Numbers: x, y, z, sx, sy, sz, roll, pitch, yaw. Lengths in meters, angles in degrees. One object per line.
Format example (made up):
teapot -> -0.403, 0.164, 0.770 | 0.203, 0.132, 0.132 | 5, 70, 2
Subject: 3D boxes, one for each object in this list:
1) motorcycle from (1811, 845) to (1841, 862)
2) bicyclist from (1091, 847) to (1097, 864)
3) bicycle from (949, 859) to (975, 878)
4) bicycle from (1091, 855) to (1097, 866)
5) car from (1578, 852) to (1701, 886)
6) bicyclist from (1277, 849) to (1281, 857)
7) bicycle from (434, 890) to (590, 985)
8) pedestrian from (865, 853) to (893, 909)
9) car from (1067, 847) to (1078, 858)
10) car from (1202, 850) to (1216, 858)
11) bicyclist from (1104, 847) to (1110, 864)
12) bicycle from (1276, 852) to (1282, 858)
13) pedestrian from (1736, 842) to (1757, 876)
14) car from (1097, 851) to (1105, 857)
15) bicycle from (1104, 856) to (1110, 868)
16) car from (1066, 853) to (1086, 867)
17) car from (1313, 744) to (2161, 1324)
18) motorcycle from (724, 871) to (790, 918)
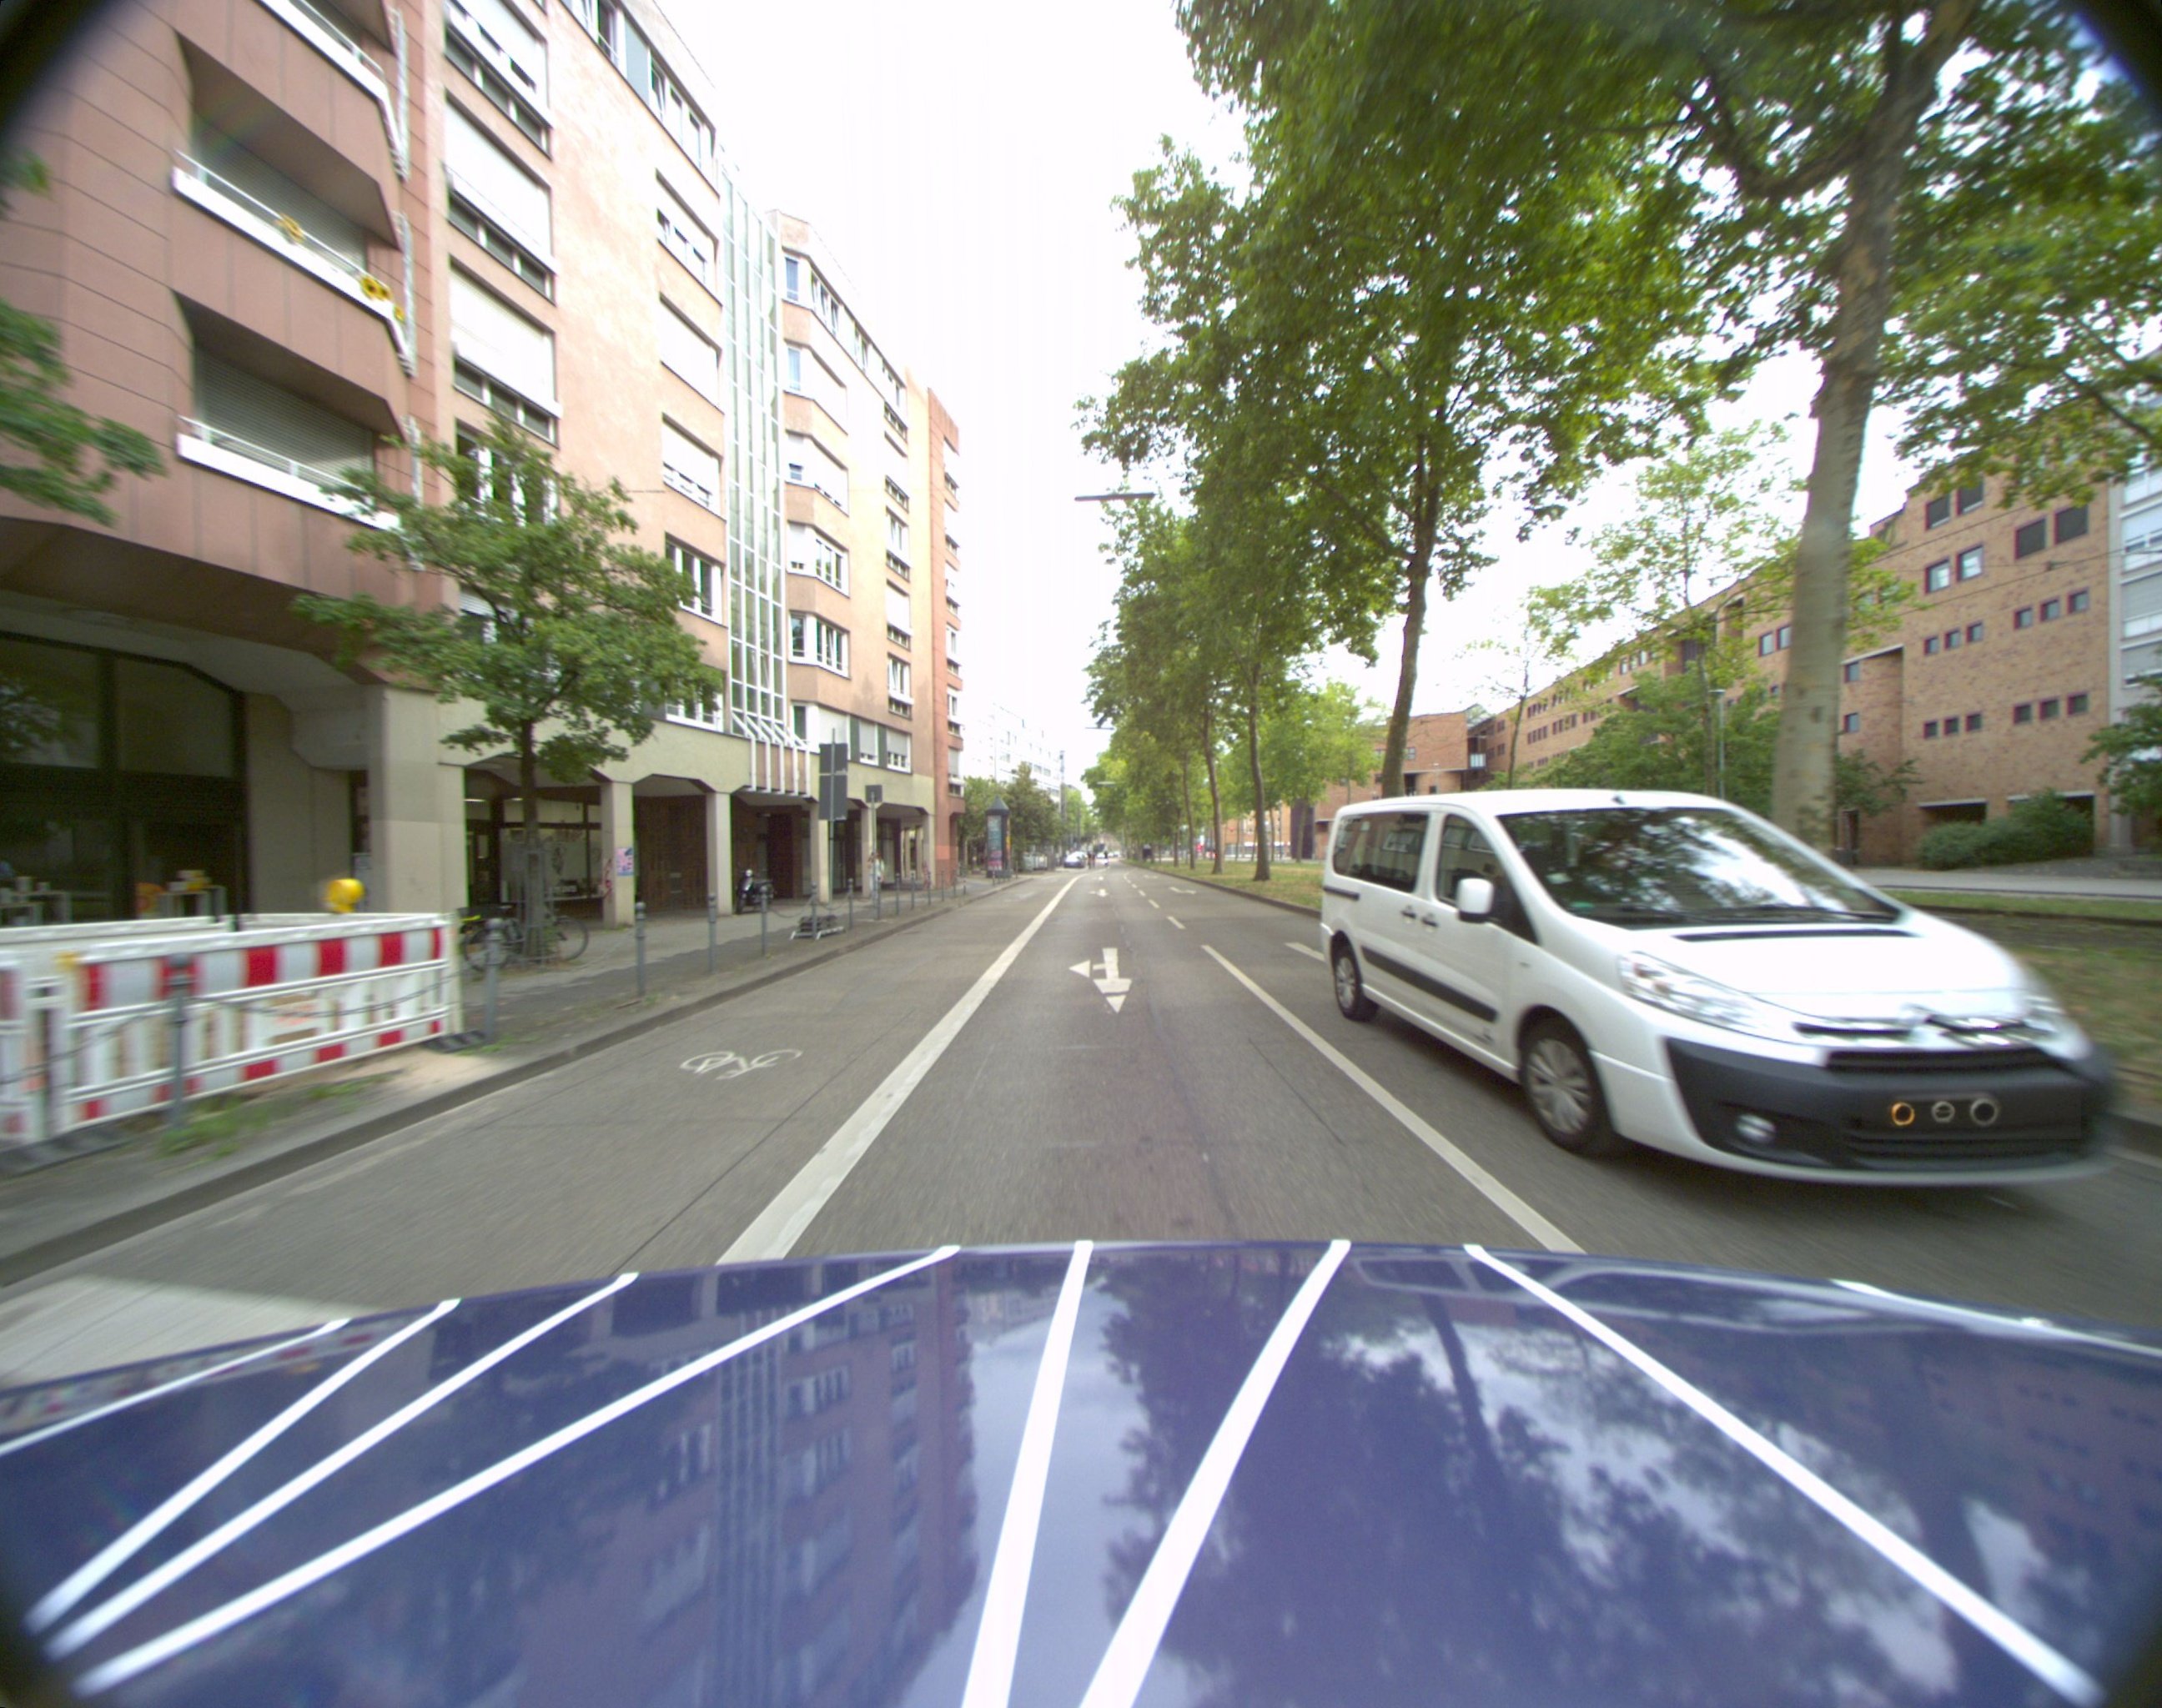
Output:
motorcycle -> 46.760, -0.035, 47.694 | 1.585, 1.017, 0.366 | -1, 1, -1
bicyclist -> 1.304, 0.143, 77.156 | 0.591, 1.758, 1.035 | 0, 0, 2
bicycle -> -7.318, 0.861, 46.608 | 1.660, 1.122, 0.672 | 1, 2, 43
bicycle -> 1.310, 0.671, 77.226 | 0.595, 1.132, 2.091 | 0, 0, 2
car -> 22.605, 0.577, 31.007 | 1.733, 1.238, 4.534 | -1, 0, 1
bicyclist -> 37.654, -0.172, 144.445 | 0.665, 1.581, 0.984 | -1, 0, 4
bicycle -> -7.900, 1.120, 10.662 | 0.613, 1.111, 1.805 | -1, 0, 9
pedestrian -> -5.965, 0.783, 22.428 | 0.545, 1.640, 0.825 | -1, 1, 2
car -> -1.524, -0.288, 129.407 | 1.831, 1.853, 4.647 | -1, 1, -1
car -> 23.751, -0.033, 141.144 | 1.788, 1.413, 4.658 | -1, 0, 0
bicyclist -> 2.670, 0.139, 77.863 | 0.591, 1.760, 1.035 | 0, 0, 2
bicycle -> 37.666, 0.225, 144.473 | 0.669, 1.078, 2.094 | -1, 0, 4
pedestrian -> 34.006, 0.244, 38.817 | 0.553, 1.695, 0.626 | -1, 1, 6
car -> 5.686, -0.022, 211.909 | 1.845, 1.369, 3.835 | -1, -1, 6
bicycle -> 2.671, 0.802, 77.852 | 0.595, 1.132, 1.858 | 0, 0, 2
car -> -0.498, 0.622, 83.546 | 1.820, 1.434, 4.667 | 0, 0, 4
car -> 3.200, 0.603, 4.992 | 1.936, 1.914, 4.956 | -1, 0, 1
motorcycle -> -8.651, 1.064, 20.384 | 0.617, 1.149, 1.906 | 1, 0, 13
